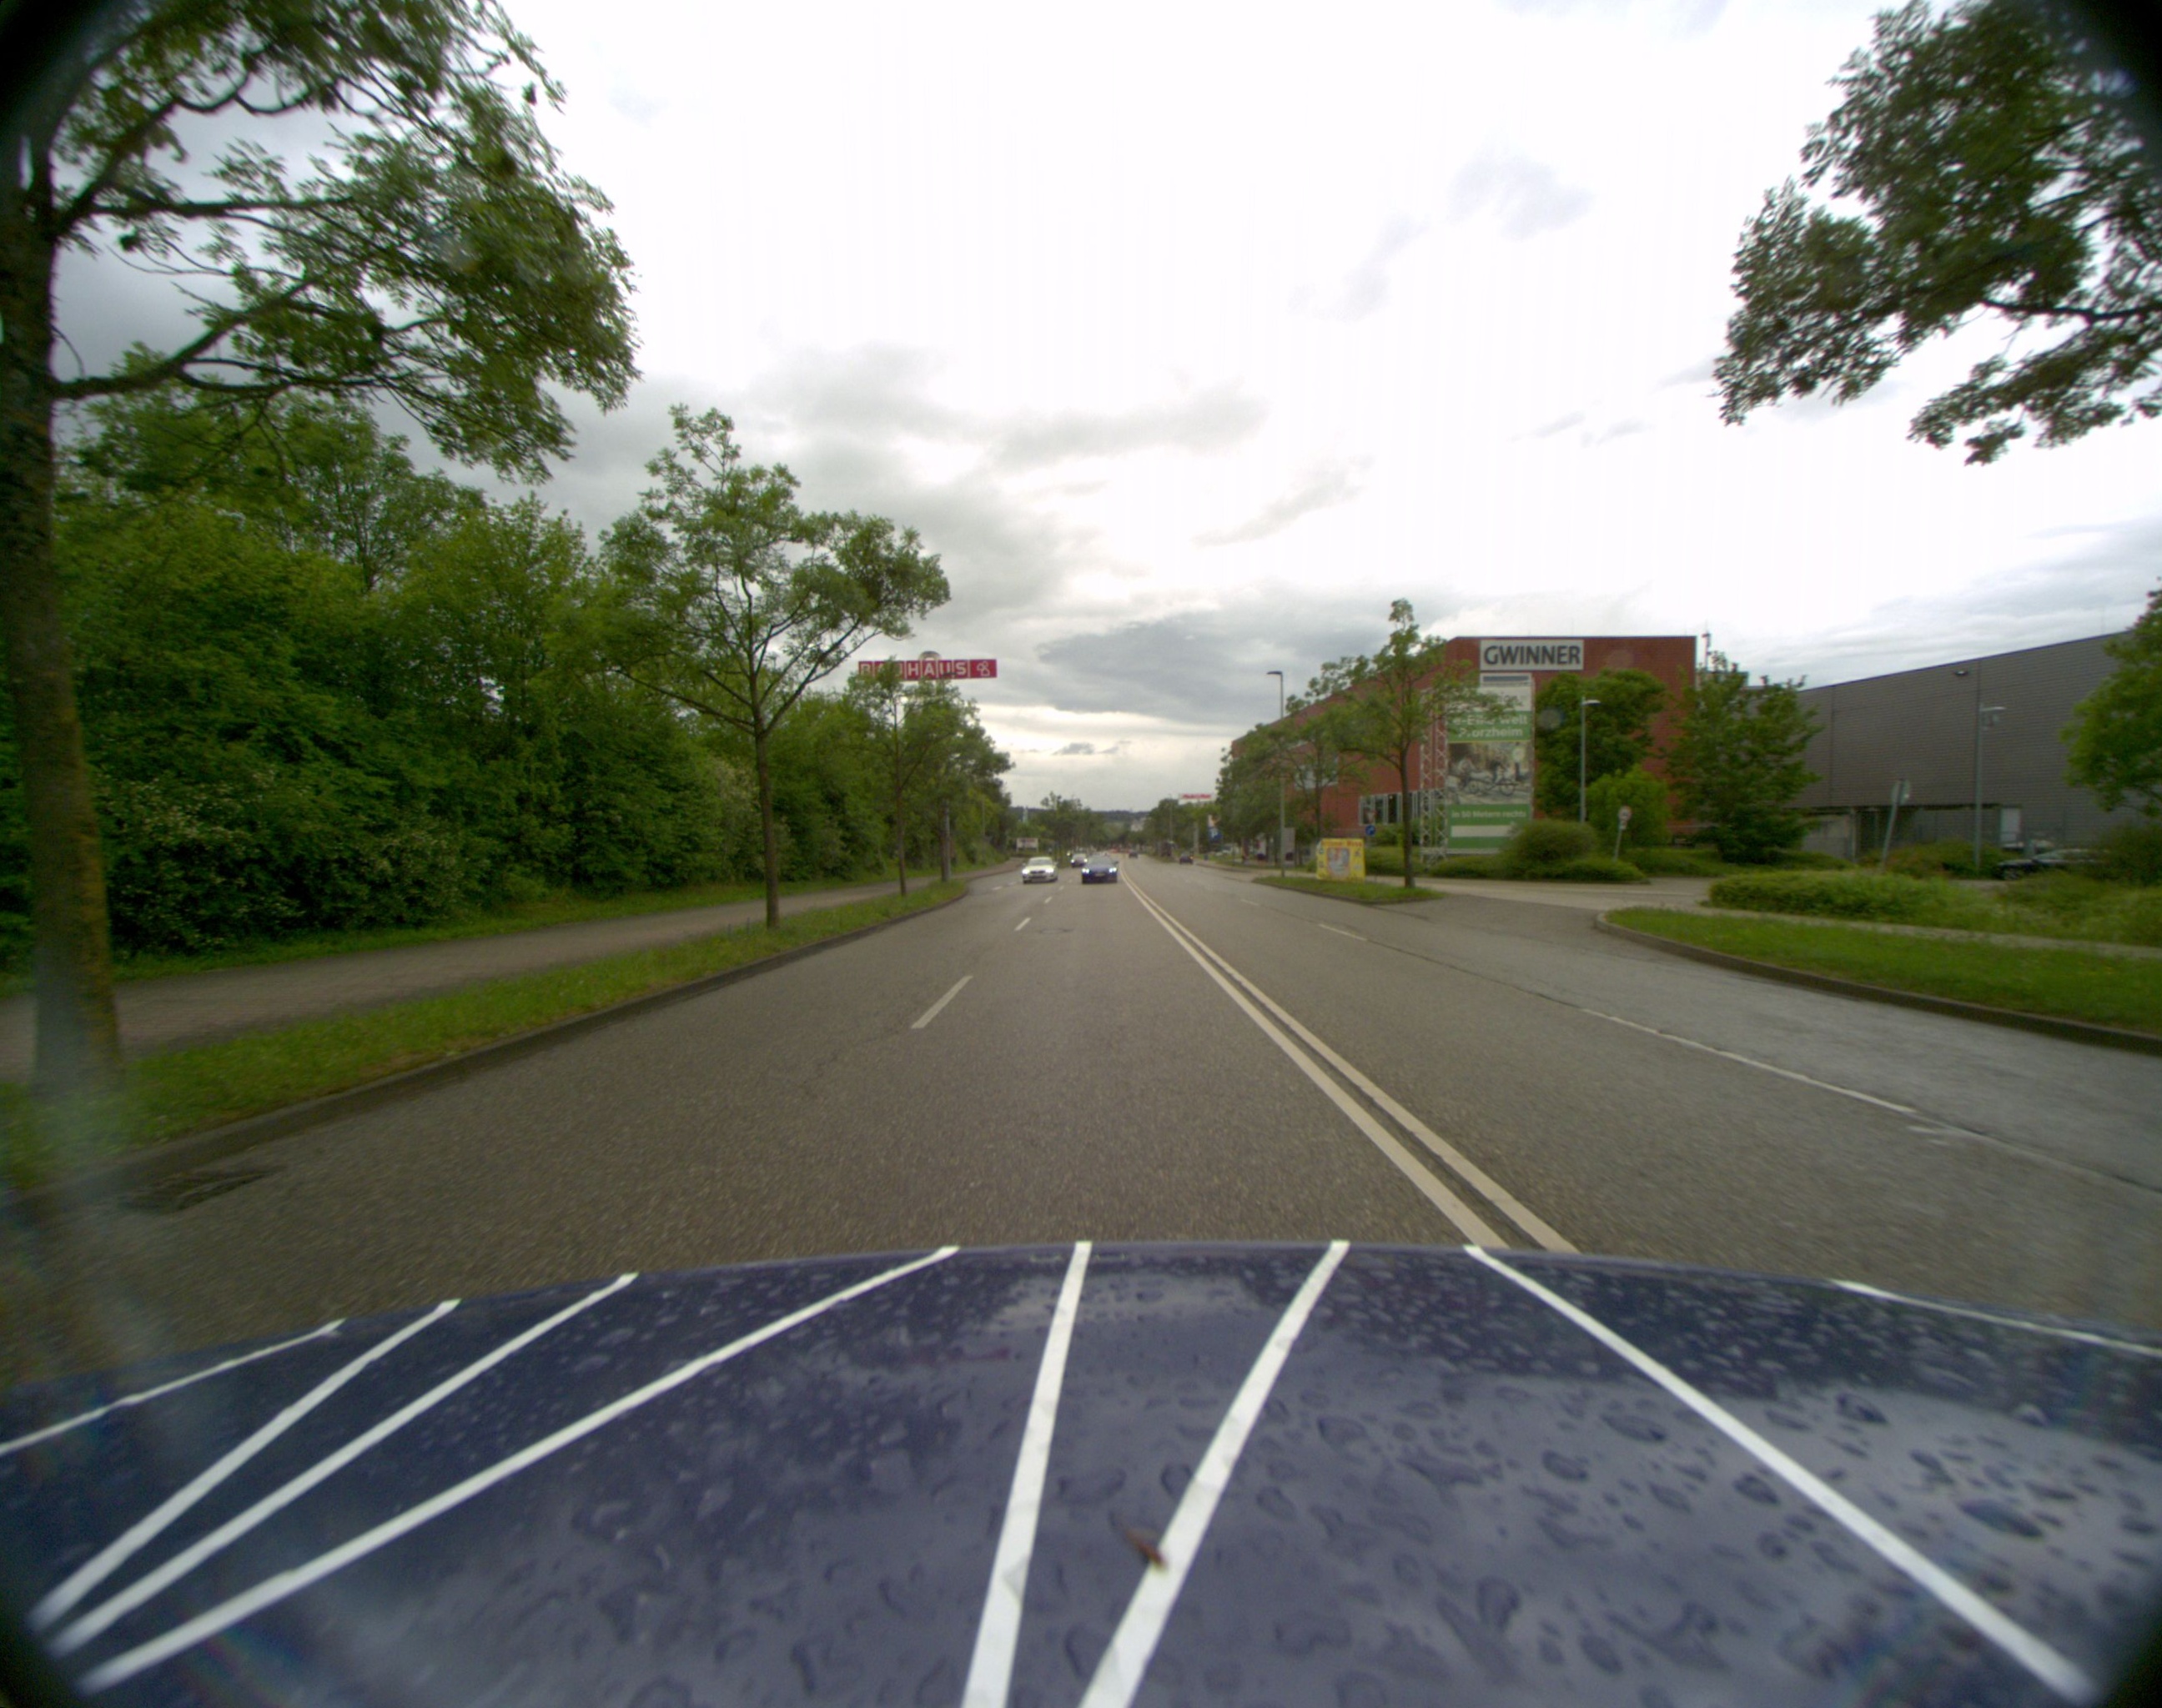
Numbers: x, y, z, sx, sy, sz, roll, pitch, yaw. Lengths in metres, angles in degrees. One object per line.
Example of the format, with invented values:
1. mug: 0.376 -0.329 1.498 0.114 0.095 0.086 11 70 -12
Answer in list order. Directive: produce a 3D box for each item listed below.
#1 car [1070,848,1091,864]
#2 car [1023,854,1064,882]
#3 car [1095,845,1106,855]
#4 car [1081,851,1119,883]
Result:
1. car: -0.059 0.197 86.559 2.113 1.610 4.840 -2 1 3
2. car: -2.141 0.767 44.773 1.863 1.473 4.001 -2 1 5
3. car: 3.531 -0.726 138.987 1.853 1.565 3.998 -3 2 0
4. car: 1.053 0.639 39.825 1.827 1.473 4.840 -2 1 3
